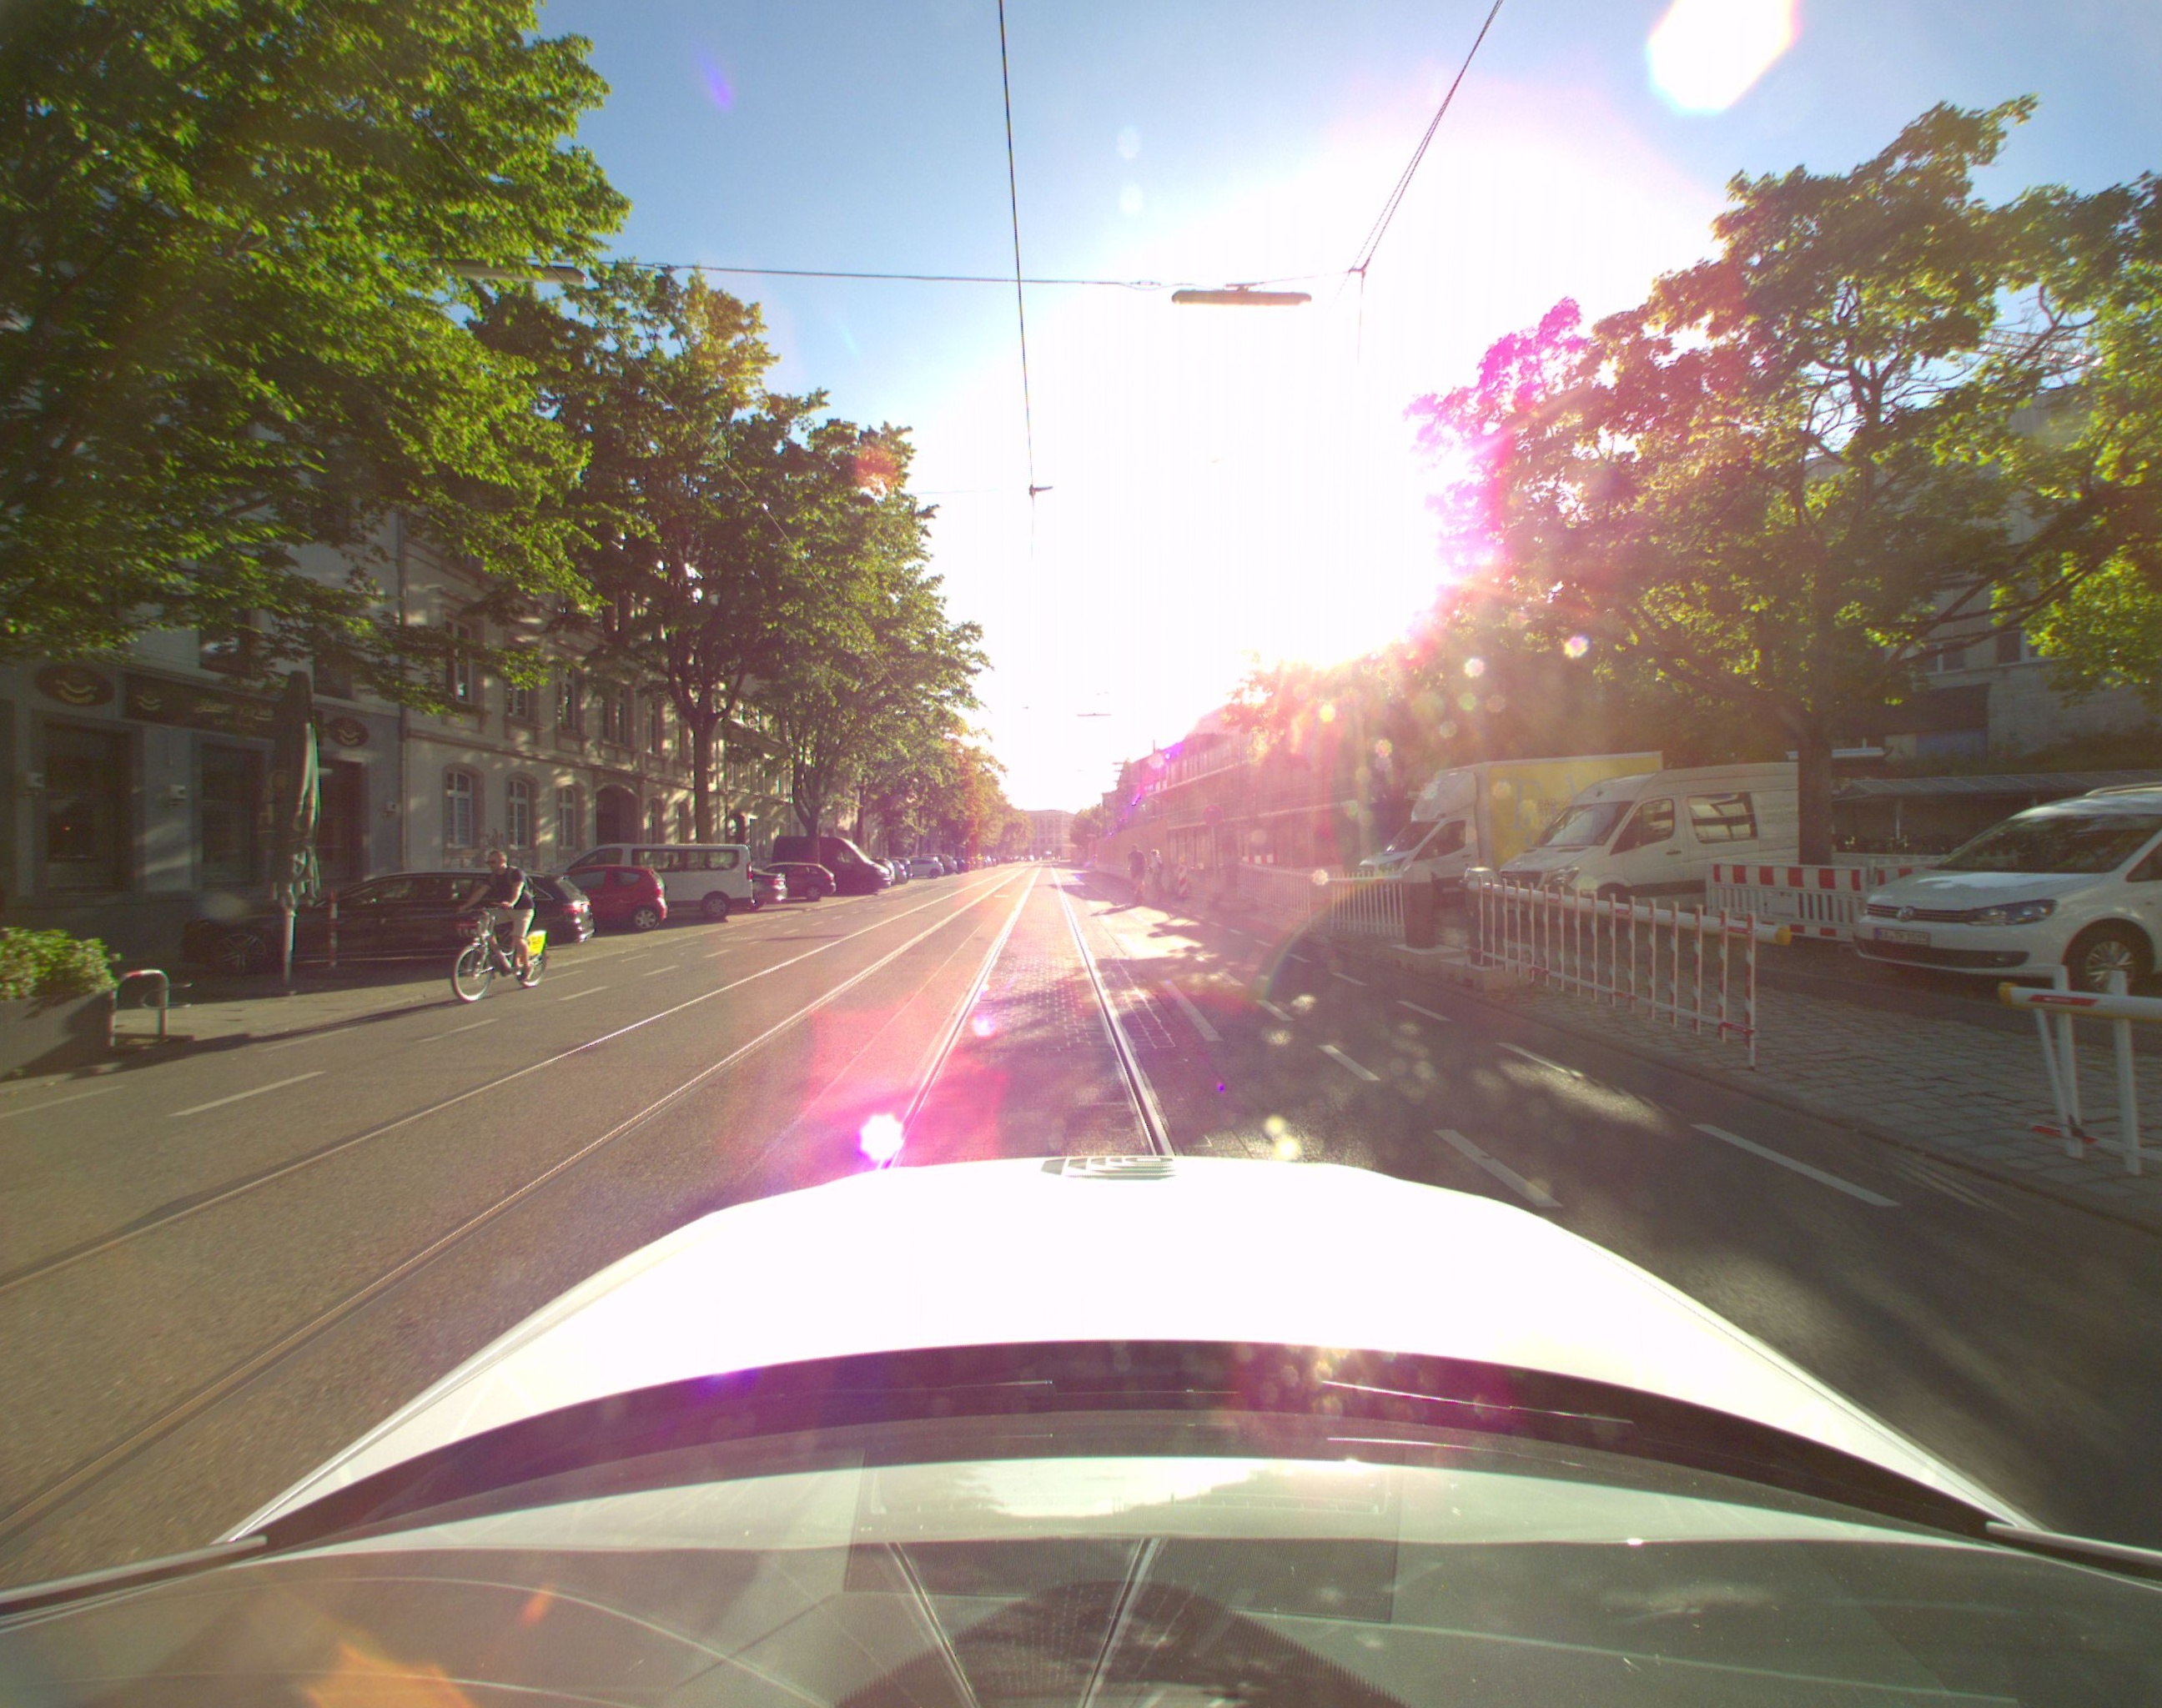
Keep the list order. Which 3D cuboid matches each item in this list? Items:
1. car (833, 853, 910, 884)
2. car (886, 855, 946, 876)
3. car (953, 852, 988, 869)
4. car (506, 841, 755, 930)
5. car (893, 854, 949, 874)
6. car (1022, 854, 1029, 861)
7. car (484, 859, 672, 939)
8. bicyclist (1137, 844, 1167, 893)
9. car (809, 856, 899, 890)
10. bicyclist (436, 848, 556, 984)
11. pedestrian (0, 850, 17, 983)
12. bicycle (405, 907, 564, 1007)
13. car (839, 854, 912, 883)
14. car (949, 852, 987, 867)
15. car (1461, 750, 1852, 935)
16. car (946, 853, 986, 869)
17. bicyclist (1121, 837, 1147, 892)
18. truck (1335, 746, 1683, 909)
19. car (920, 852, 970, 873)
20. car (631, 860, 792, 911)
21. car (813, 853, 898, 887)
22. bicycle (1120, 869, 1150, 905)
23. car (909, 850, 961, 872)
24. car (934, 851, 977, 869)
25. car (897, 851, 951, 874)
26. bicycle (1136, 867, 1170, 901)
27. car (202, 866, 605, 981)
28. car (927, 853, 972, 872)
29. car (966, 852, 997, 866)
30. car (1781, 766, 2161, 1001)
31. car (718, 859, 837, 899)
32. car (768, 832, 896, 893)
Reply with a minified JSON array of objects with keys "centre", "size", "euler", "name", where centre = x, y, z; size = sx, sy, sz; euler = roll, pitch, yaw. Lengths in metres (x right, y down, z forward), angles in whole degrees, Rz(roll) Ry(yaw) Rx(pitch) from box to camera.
[{"centre":[-12.037,0.833,47.005],"size":[4.087,1.608,1.822],"euler":[2,-1,-10],"name":"car"},{"centre":[-12.361,0.888,60.877],"size":[4.104,1.453,1.815],"euler":[2,-1,-23],"name":"car"},{"centre":[-14.110,0.780,104.148],"size":[4.106,2.054,1.814],"euler":[2,-1,-25],"name":"car"},{"centre":[-11.411,0.709,21.077],"size":[5.359,1.991,2.021],"euler":[-2,0,-27],"name":"car"},{"centre":[-12.898,0.818,65.524],"size":[4.104,1.453,1.815],"euler":[2,-1,-23],"name":"car"},{"centre":[-14.547,0.944,213.265],"size":[1.678,1.837,3.863],"euler":[2,-1,-6],"name":"car"},{"centre":[-11.121,0.943,18.282],"size":[3.329,1.503,1.676],"euler":[-1,3,-24],"name":"car"},{"centre":[2.439,0.498,27.970],"size":[0.891,1.639,1.099],"euler":[0,0,-2],"name":"bicyclist"},{"centre":[-11.161,0.904,40.225],"size":[4.087,1.608,1.822],"euler":[0,0,-10],"name":"car"},{"centre":[-7.168,0.723,10.033],"size":[0.723,1.572,1.027],"euler":[-1,0,-4],"name":"bicyclist"},{"centre":[-14.182,0.811,10.380],"size":[0.504,1.715,0.536],"euler":[-2,0,-17],"name":"pedestrian"},{"centre":[-7.151,1.189,9.895],"size":[0.609,0.953,1.881],"euler":[-1,0,-3],"name":"bicycle"},{"centre":[-12.442,0.880,49.521],"size":[4.087,1.608,1.822],"euler":[2,-1,-10],"name":"car"},{"centre":[-13.495,0.661,97.004],"size":[4.106,1.754,1.814],"euler":[2,-1,-25],"name":"car"},{"centre":[9.666,-0.218,13.916],"size":[5.356,2.530,1.996],"euler":[-5,0,-6],"name":"car"},{"centre":[-13.219,0.835,93.670],"size":[4.106,1.754,1.814],"euler":[2,-1,-25],"name":"car"},{"centre":[1.643,0.321,25.260],"size":[0.679,1.658,0.811],"euler":[-1,0,-4],"name":"bicyclist"},{"centre":[10.082,-0.622,19.580],"size":[7.080,3.348,2.388],"euler":[-3,0,-3],"name":"truck"},{"centre":[-12.450,0.762,74.578],"size":[4.106,1.754,1.814],"euler":[2,-1,-25],"name":"car"},{"centre":[-11.145,0.950,24.845],"size":[4.088,1.419,1.822],"euler":[2,-1,-11],"name":"car"},{"centre":[-11.714,0.837,42.524],"size":[4.087,1.608,1.822],"euler":[2,-1,-10],"name":"car"},{"centre":[1.657,0.999,25.260],"size":[0.679,1.018,1.919],"euler":[-1,0,-3],"name":"bicycle"},{"centre":[-12.712,0.630,70.910],"size":[4.106,1.754,1.814],"euler":[2,-1,-25],"name":"car"},{"centre":[-13.184,0.664,85.755],"size":[4.106,1.754,1.814],"euler":[2,-1,-25],"name":"car"},{"centre":[-13.121,0.703,68.082],"size":[4.106,1.754,1.814],"euler":[2,-1,-25],"name":"car"},{"centre":[2.440,1.002,27.831],"size":[0.890,1.093,2.428],"euler":[0,0,-2],"name":"bicycle"},{"centre":[-10.383,0.978,13.014],"size":[4.653,1.491,1.674],"euler":[-1,-1,-26],"name":"car"},{"centre":[-13.076,0.819,81.059],"size":[4.106,1.754,1.814],"euler":[2,-1,-25],"name":"car"},{"centre":[-14.810,0.737,121.347],"size":[4.106,2.054,1.814],"euler":[2,-1,-25],"name":"car"},{"centre":[10.081,0.138,7.791],"size":[4.911,1.892,2.012],"euler":[-3,0,2],"name":"car"},{"centre":[-11.527,0.964,31.167],"size":[4.100,1.419,1.816],"euler":[2,-1,-20],"name":"car"},{"centre":[-11.353,0.408,37.518],"size":[5.174,2.578,2.241],"euler":[2,-1,-6],"name":"car"}]
